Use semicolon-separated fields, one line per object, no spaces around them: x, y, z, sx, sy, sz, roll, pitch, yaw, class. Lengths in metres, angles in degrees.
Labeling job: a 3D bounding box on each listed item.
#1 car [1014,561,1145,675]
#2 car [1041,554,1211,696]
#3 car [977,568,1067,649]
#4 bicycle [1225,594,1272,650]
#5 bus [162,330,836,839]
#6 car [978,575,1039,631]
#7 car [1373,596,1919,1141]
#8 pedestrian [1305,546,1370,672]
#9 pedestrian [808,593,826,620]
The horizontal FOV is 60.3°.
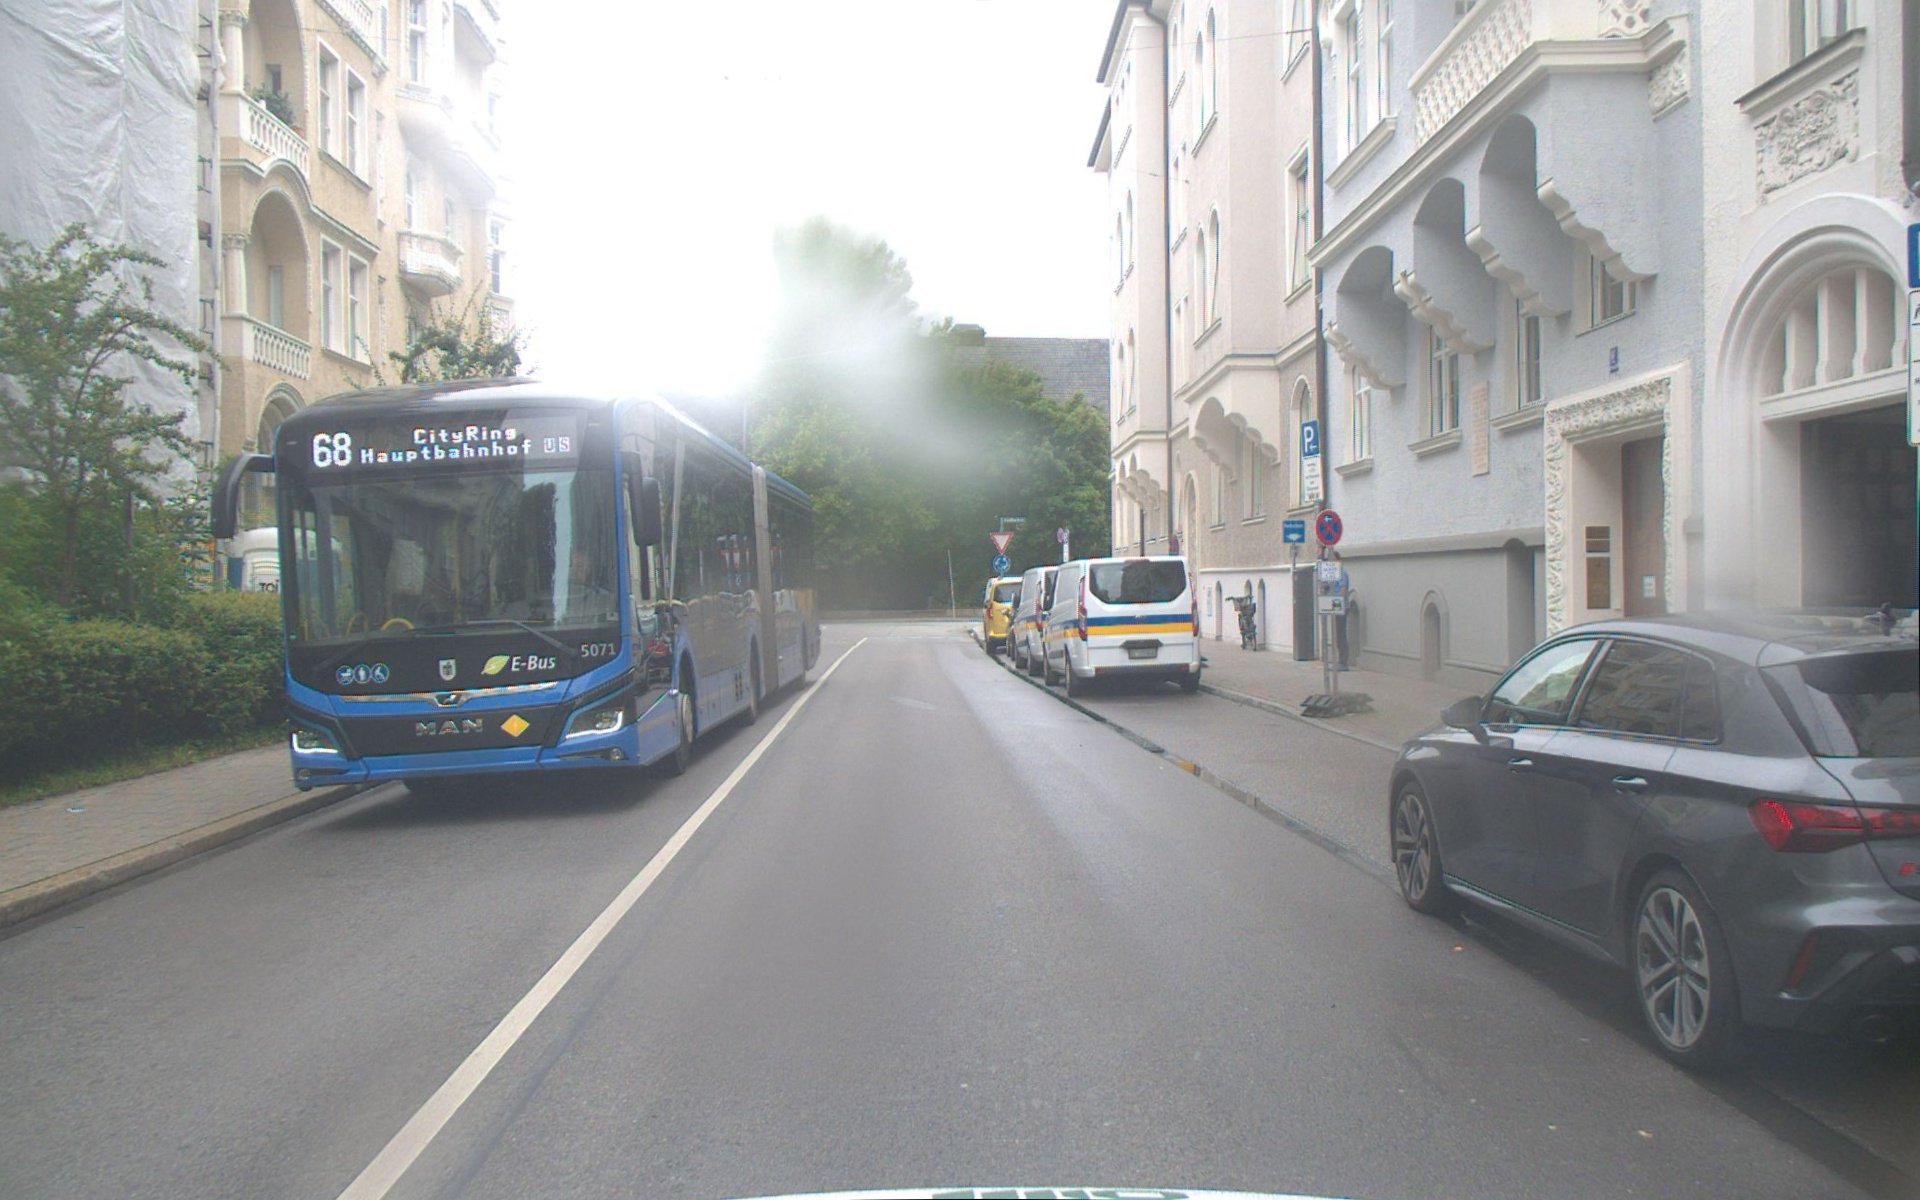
2.188;0.305;31.533;1.953;1.952;4.884;-1;0;-2;car
2.449;0.334;25.644;1.953;1.952;4.876;-1;0;-2;car
1.540;0.197;42.707;1.953;1.952;4.569;-1;0;-2;car
6.154;0.454;35.363;0.652;1.153;1.722;-1;0;-1;bicycle
-3.760;-0.153;20.113;3.107;3.268;18.056;-3;0;0;bus
1.773;0.077;62.351;1.899;1.955;5.372;-2;0;-2;car
3.137;0.722;6.642;1.752;1.432;4.243;-1;0;-2;car
5.959;0.139;26.119;0.834;1.936;0.746;-1;0;1;pedestrian
-7.233;0.328;83.736;0.753;1.380;1.131;-1;0;0;pedestrian
